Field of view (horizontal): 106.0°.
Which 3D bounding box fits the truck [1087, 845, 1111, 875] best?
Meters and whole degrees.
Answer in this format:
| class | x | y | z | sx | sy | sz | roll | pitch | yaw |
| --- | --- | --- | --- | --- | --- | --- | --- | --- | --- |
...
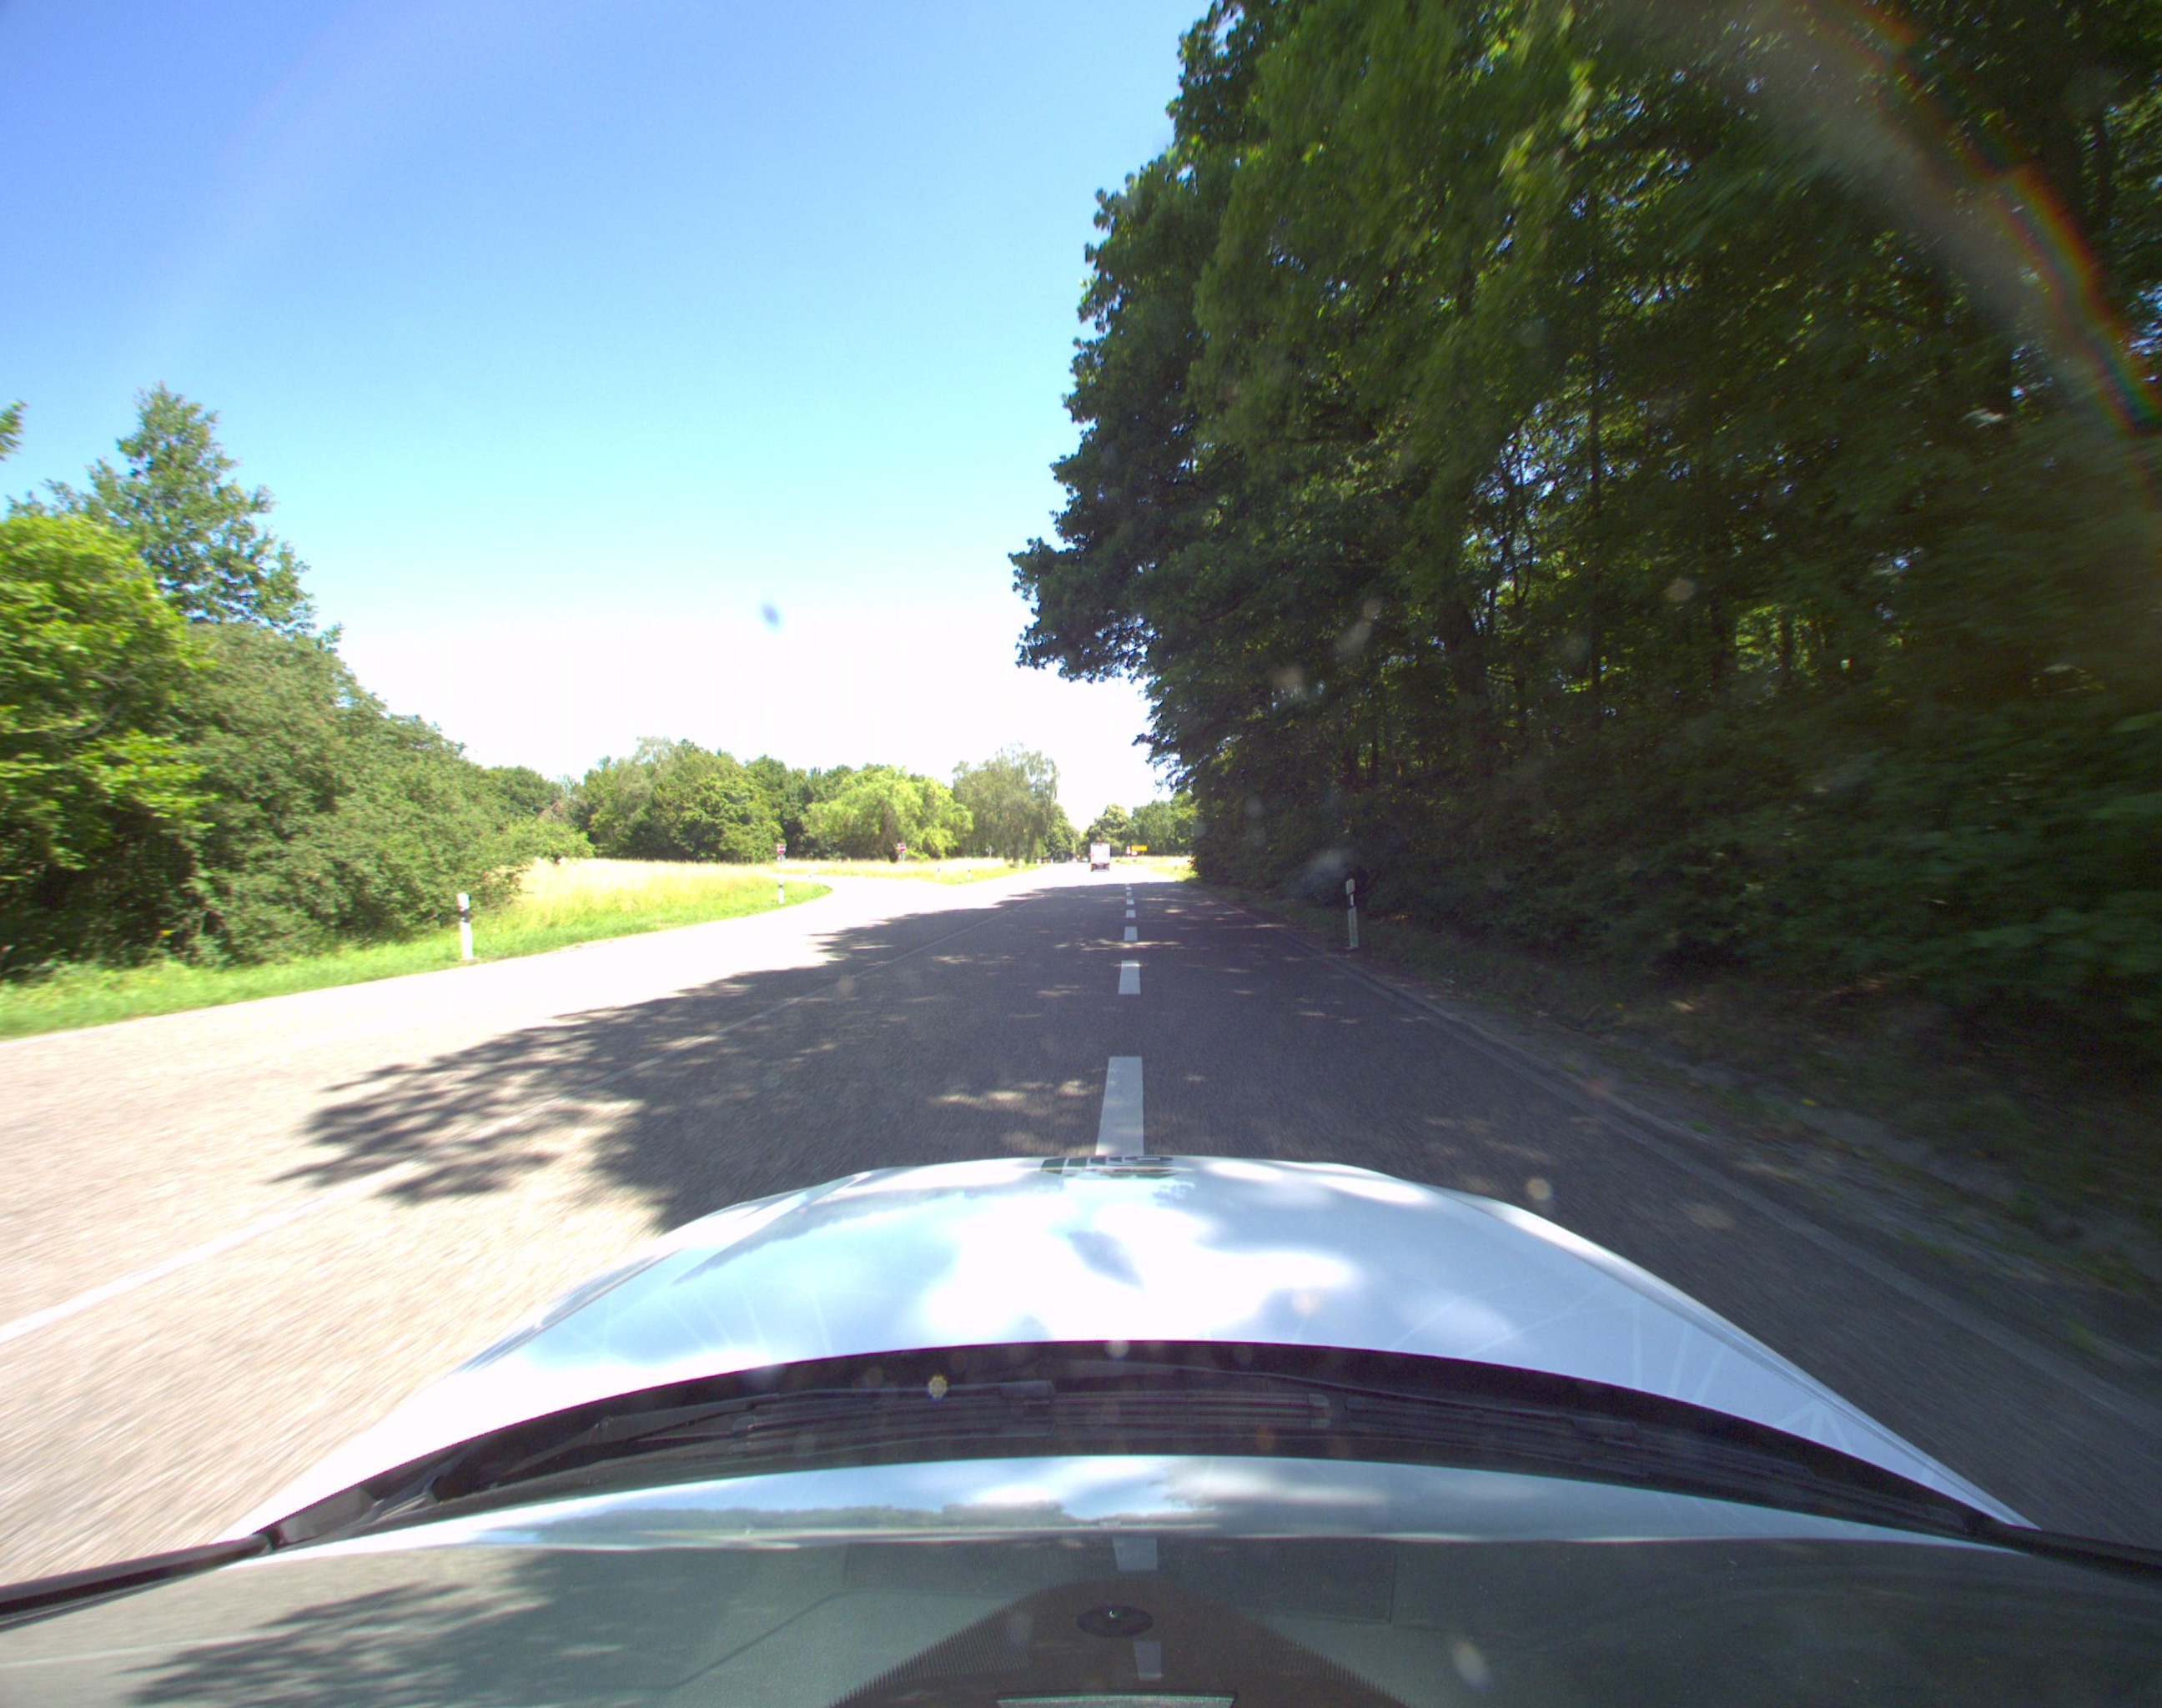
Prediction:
| class | x | y | z | sx | sy | sz | roll | pitch | yaw |
| --- | --- | --- | --- | --- | --- | --- | --- | --- | --- |
| truck | 1.998 | 0.597 | 87.882 | 2.524 | 3.135 | 5.363 | 0 | 0 | 2 |
